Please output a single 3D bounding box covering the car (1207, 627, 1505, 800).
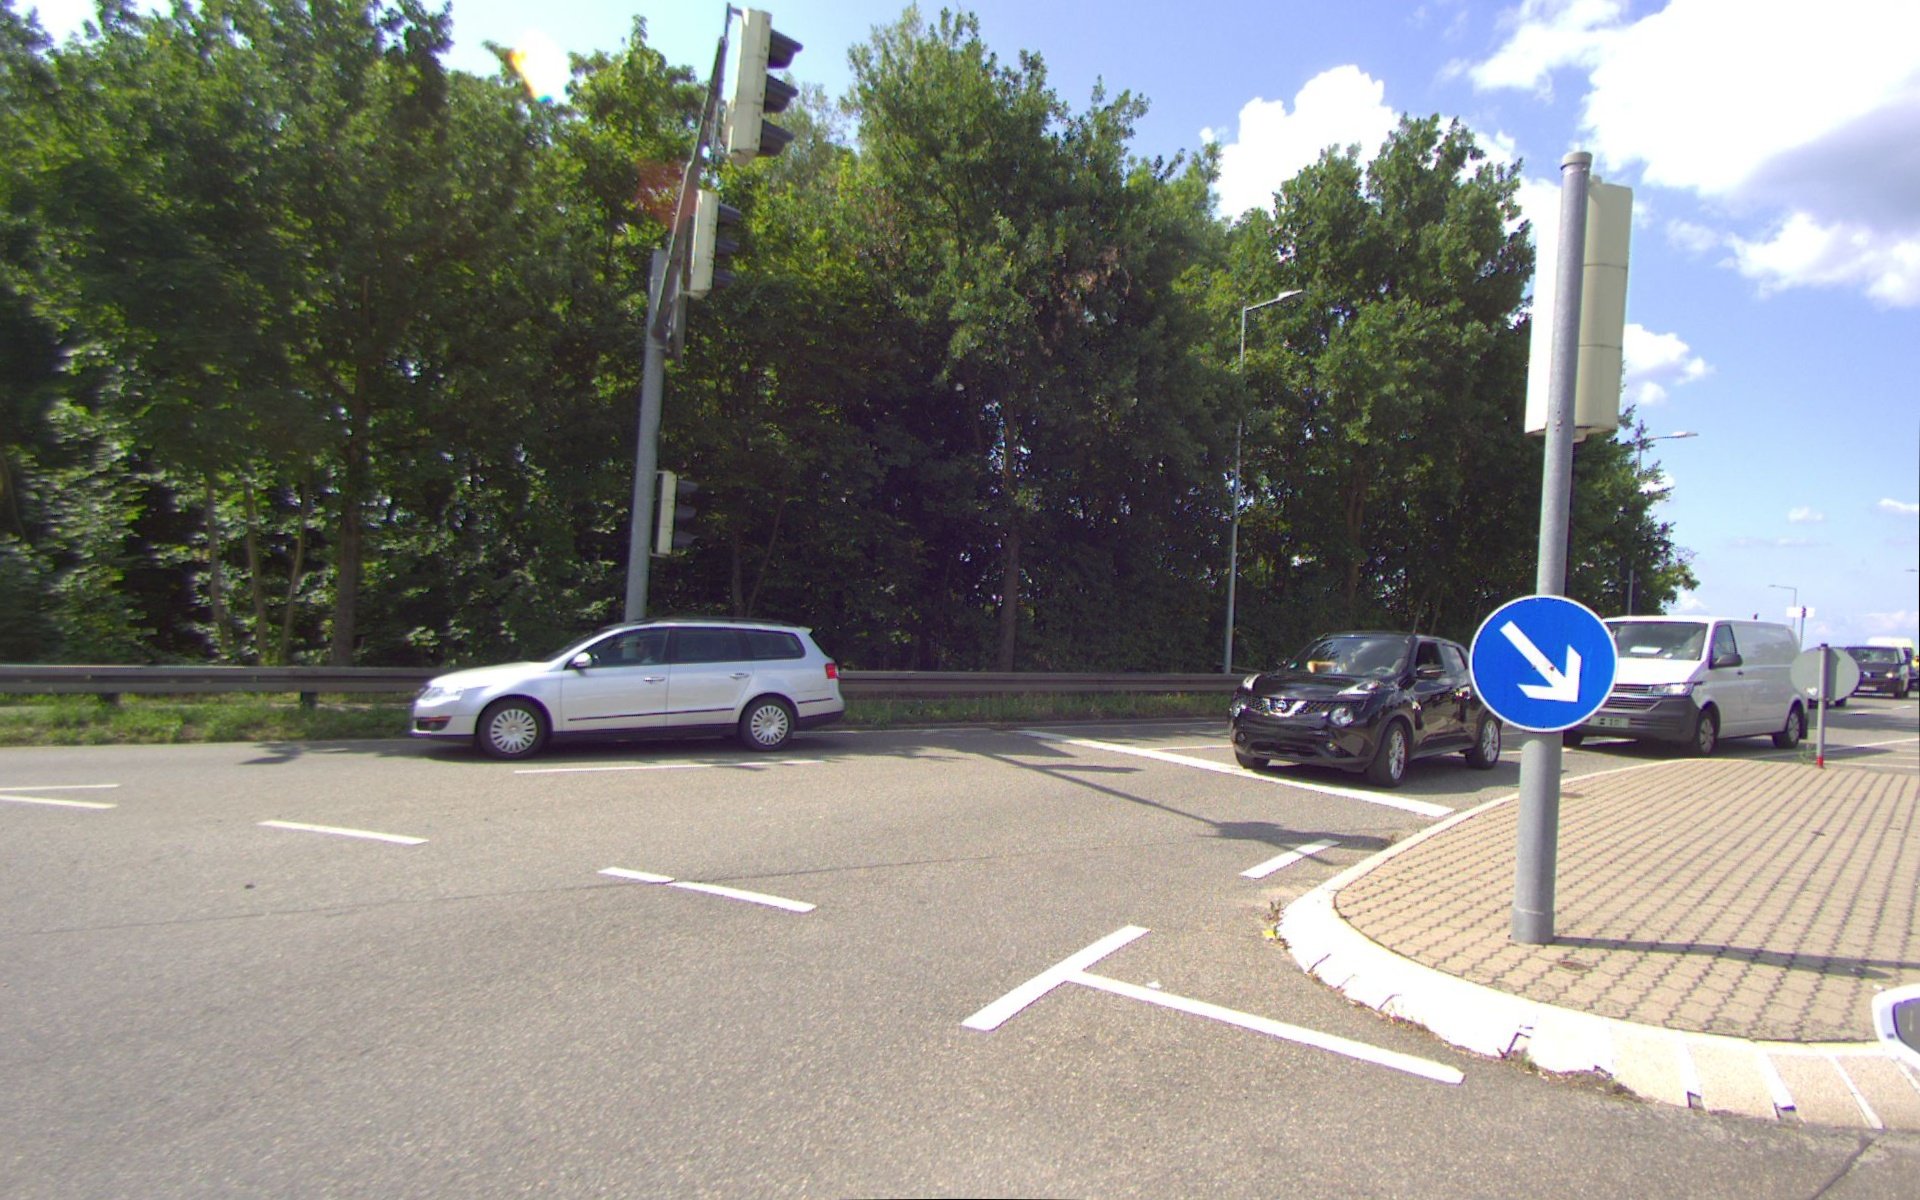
[{"bbox_3d":[4.568,1.164,11.306,3.796,1.577,1.681,4,-2,-44],"label":"car"}]

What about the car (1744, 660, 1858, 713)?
[{"bbox_3d":[24.993,2.548,29.803,4.297,1.428,1.624,3,-3,-36],"label":"car"}]

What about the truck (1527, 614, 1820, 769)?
[{"bbox_3d":[10.786,1.284,15.023,5.318,1.938,1.947,3,-2,-36],"label":"truck"}]

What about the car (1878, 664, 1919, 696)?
[{"bbox_3d":[44.897,3.779,47.778,1.779,1.407,3.984,0,-3,43],"label":"car"}]

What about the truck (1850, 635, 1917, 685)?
[{"bbox_3d":[51.854,3.329,56.510,1.967,2.655,6.084,-1,-3,35],"label":"truck"}]

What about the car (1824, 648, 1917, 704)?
[{"bbox_3d":[34.612,2.852,38.139,5.091,1.938,1.977,3,-3,-40],"label":"car"}]

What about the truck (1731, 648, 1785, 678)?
[{"bbox_3d":[71.682,5.582,90.326,1.960,2.540,5.949,1,-2,19],"label":"truck"}]

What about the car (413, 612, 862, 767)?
[{"bbox_3d":[-3.612,1.004,11.586,4.655,1.497,1.676,3,-4,-28],"label":"car"}]
